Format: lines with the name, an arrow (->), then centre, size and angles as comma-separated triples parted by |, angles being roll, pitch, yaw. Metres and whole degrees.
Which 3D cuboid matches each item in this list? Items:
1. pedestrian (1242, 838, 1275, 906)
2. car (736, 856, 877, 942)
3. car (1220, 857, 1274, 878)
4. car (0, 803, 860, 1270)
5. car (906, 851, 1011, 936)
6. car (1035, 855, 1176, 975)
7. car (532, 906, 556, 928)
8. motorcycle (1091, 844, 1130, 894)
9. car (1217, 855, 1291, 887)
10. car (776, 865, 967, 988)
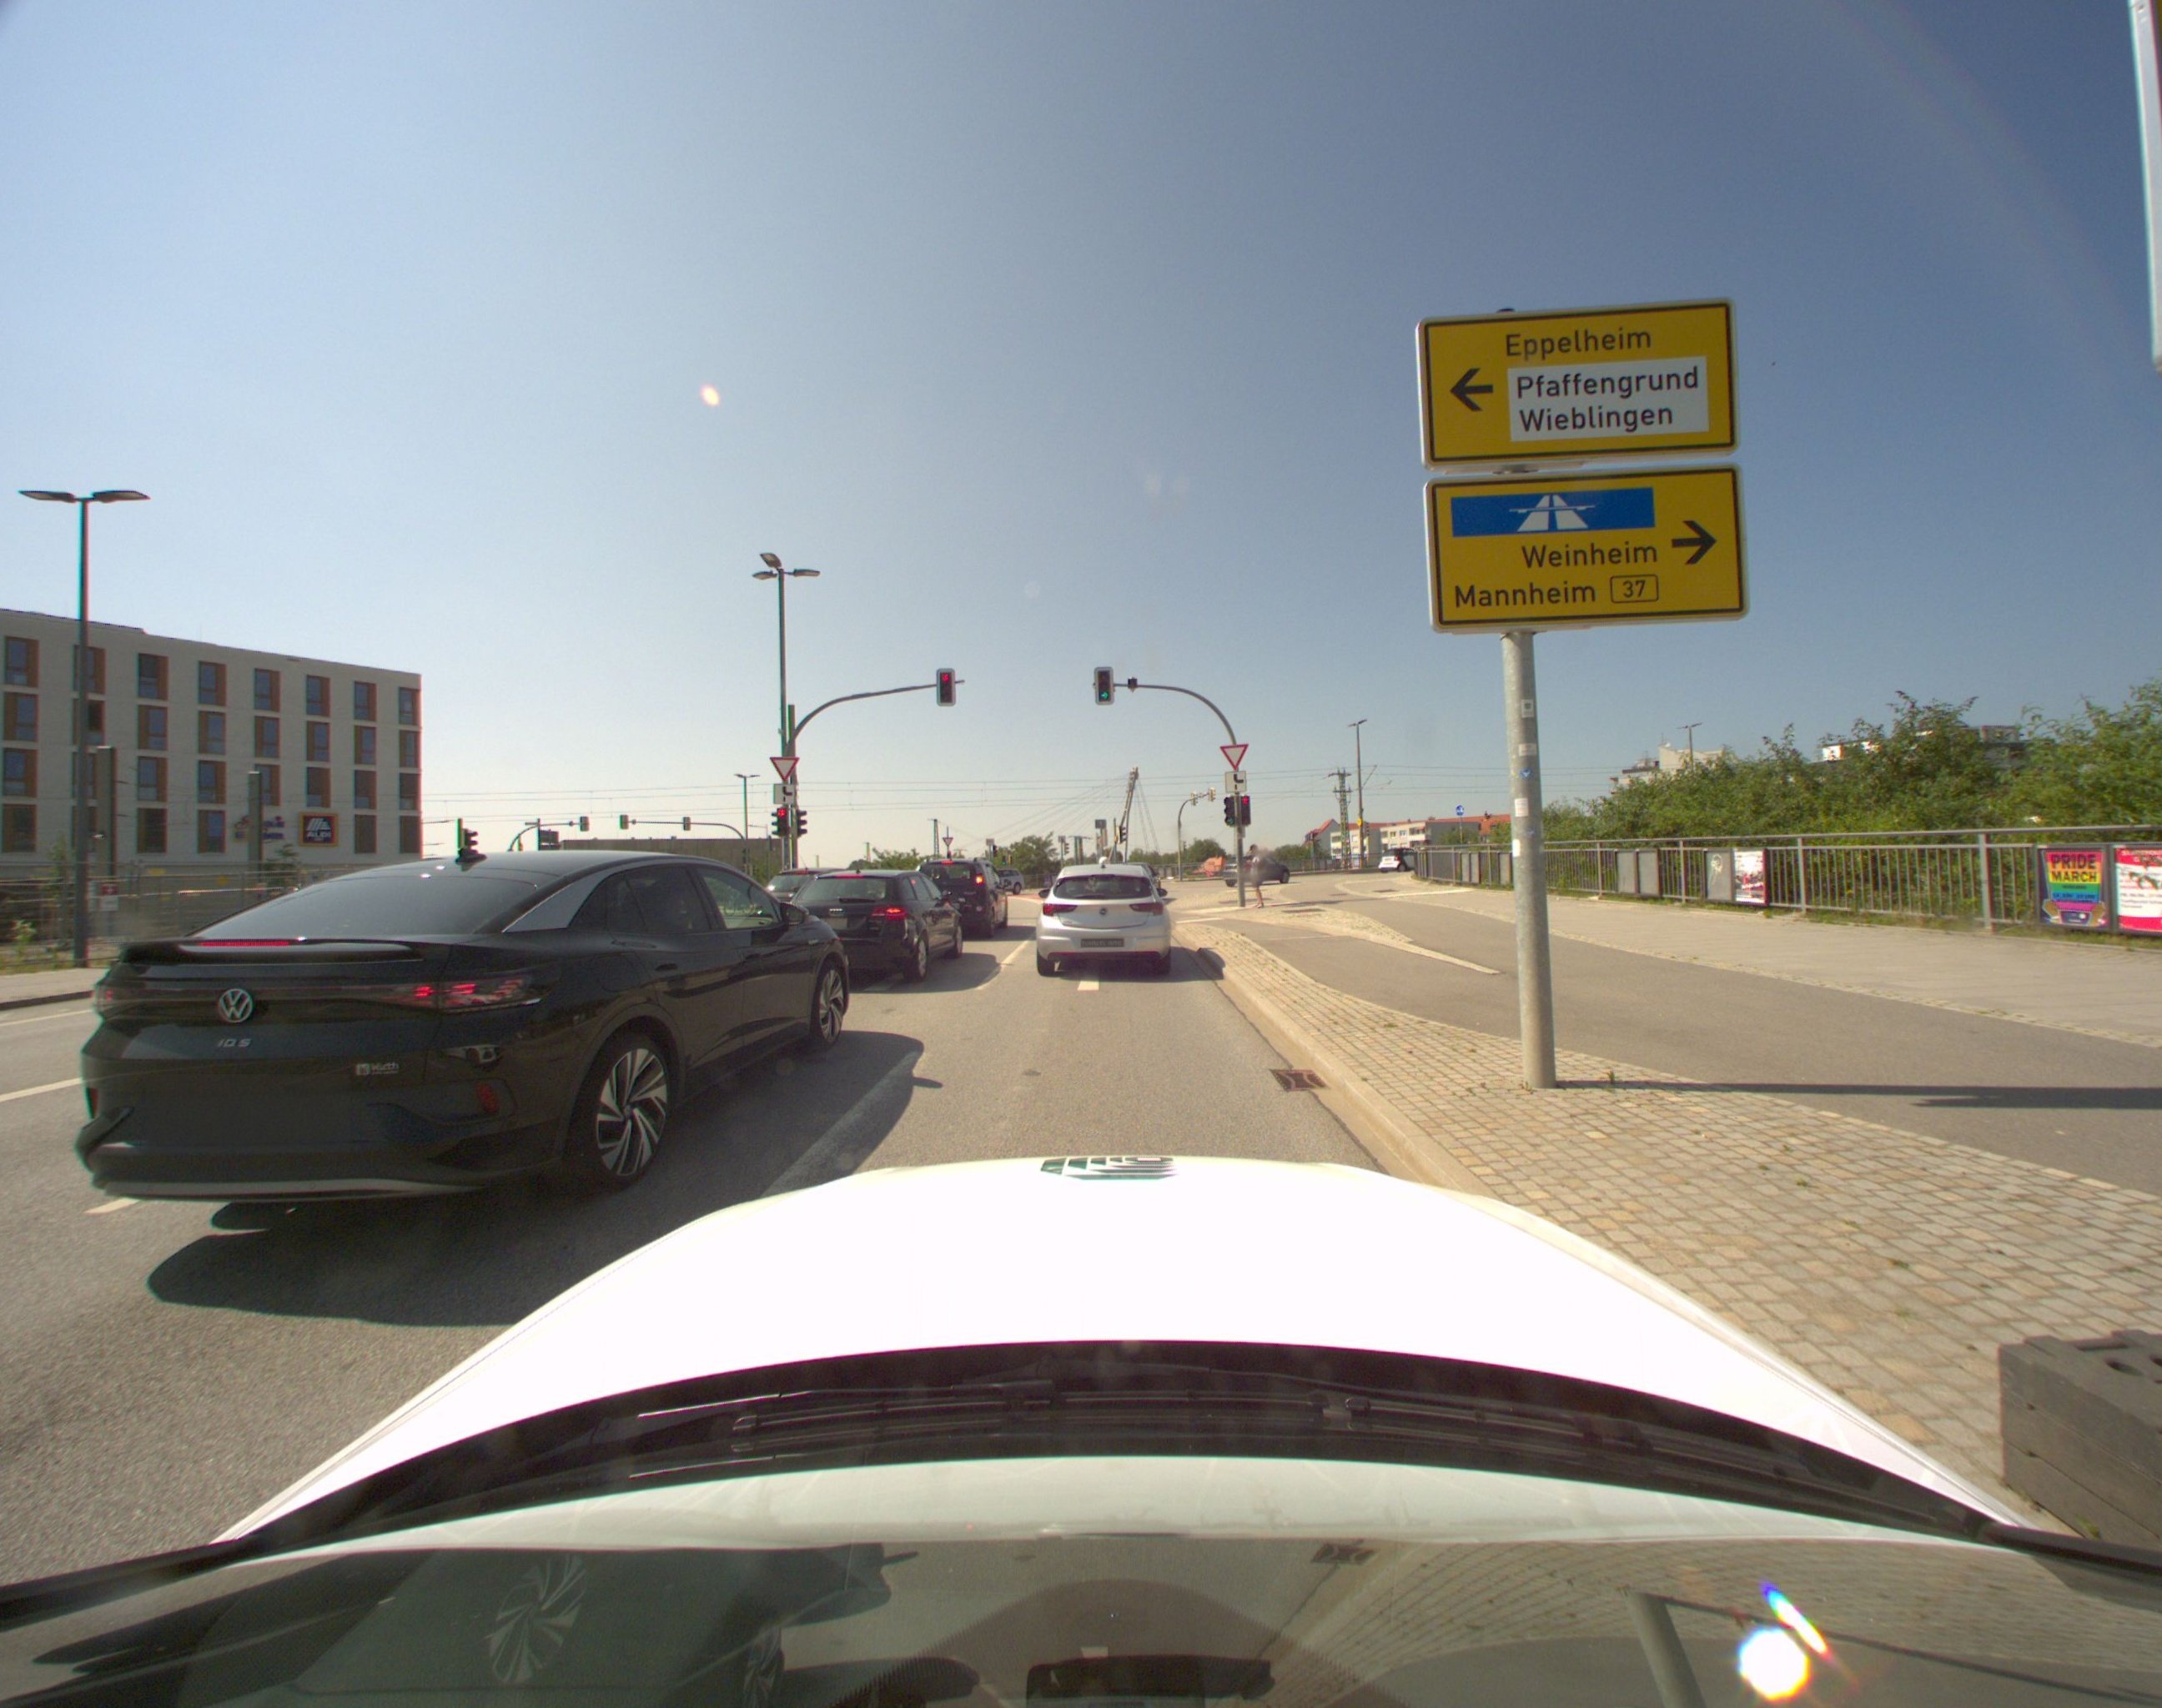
pedestrian -> 4.934, 0.495, 22.676 | 0.645, 1.836, 0.798 | -3, -1, 0
car -> -5.474, 0.849, 16.728 | 1.592, 1.547, 3.762 | 0, -1, 0
car -> 12.286, 0.993, 60.310 | 3.636, 1.486, 1.679 | 0, -1, -20
car -> -2.965, 0.679, 5.081 | 1.794, 1.641, 4.368 | 0, -1, 2
car -> -2.488, 0.782, 17.370 | 1.644, 1.615, 3.820 | 0, -1, 0
car -> 0.311, 0.789, 12.083 | 1.737, 1.478, 3.999 | 0, -1, 0
car -> -44.206, 5.156, 66.979 | 1.577, 1.587, 3.442 | 1, -1, -34
motorcycle -> 0.682, 0.383, 19.595 | 0.500, 1.013, 2.168 | -9, -3, -6
car -> 8.876, 0.828, 41.541 | 4.023, 1.564, 1.708 | 0, 0, -44
car -> -2.710, 0.875, 11.388 | 1.569, 1.434, 3.787 | 0, -1, 2
